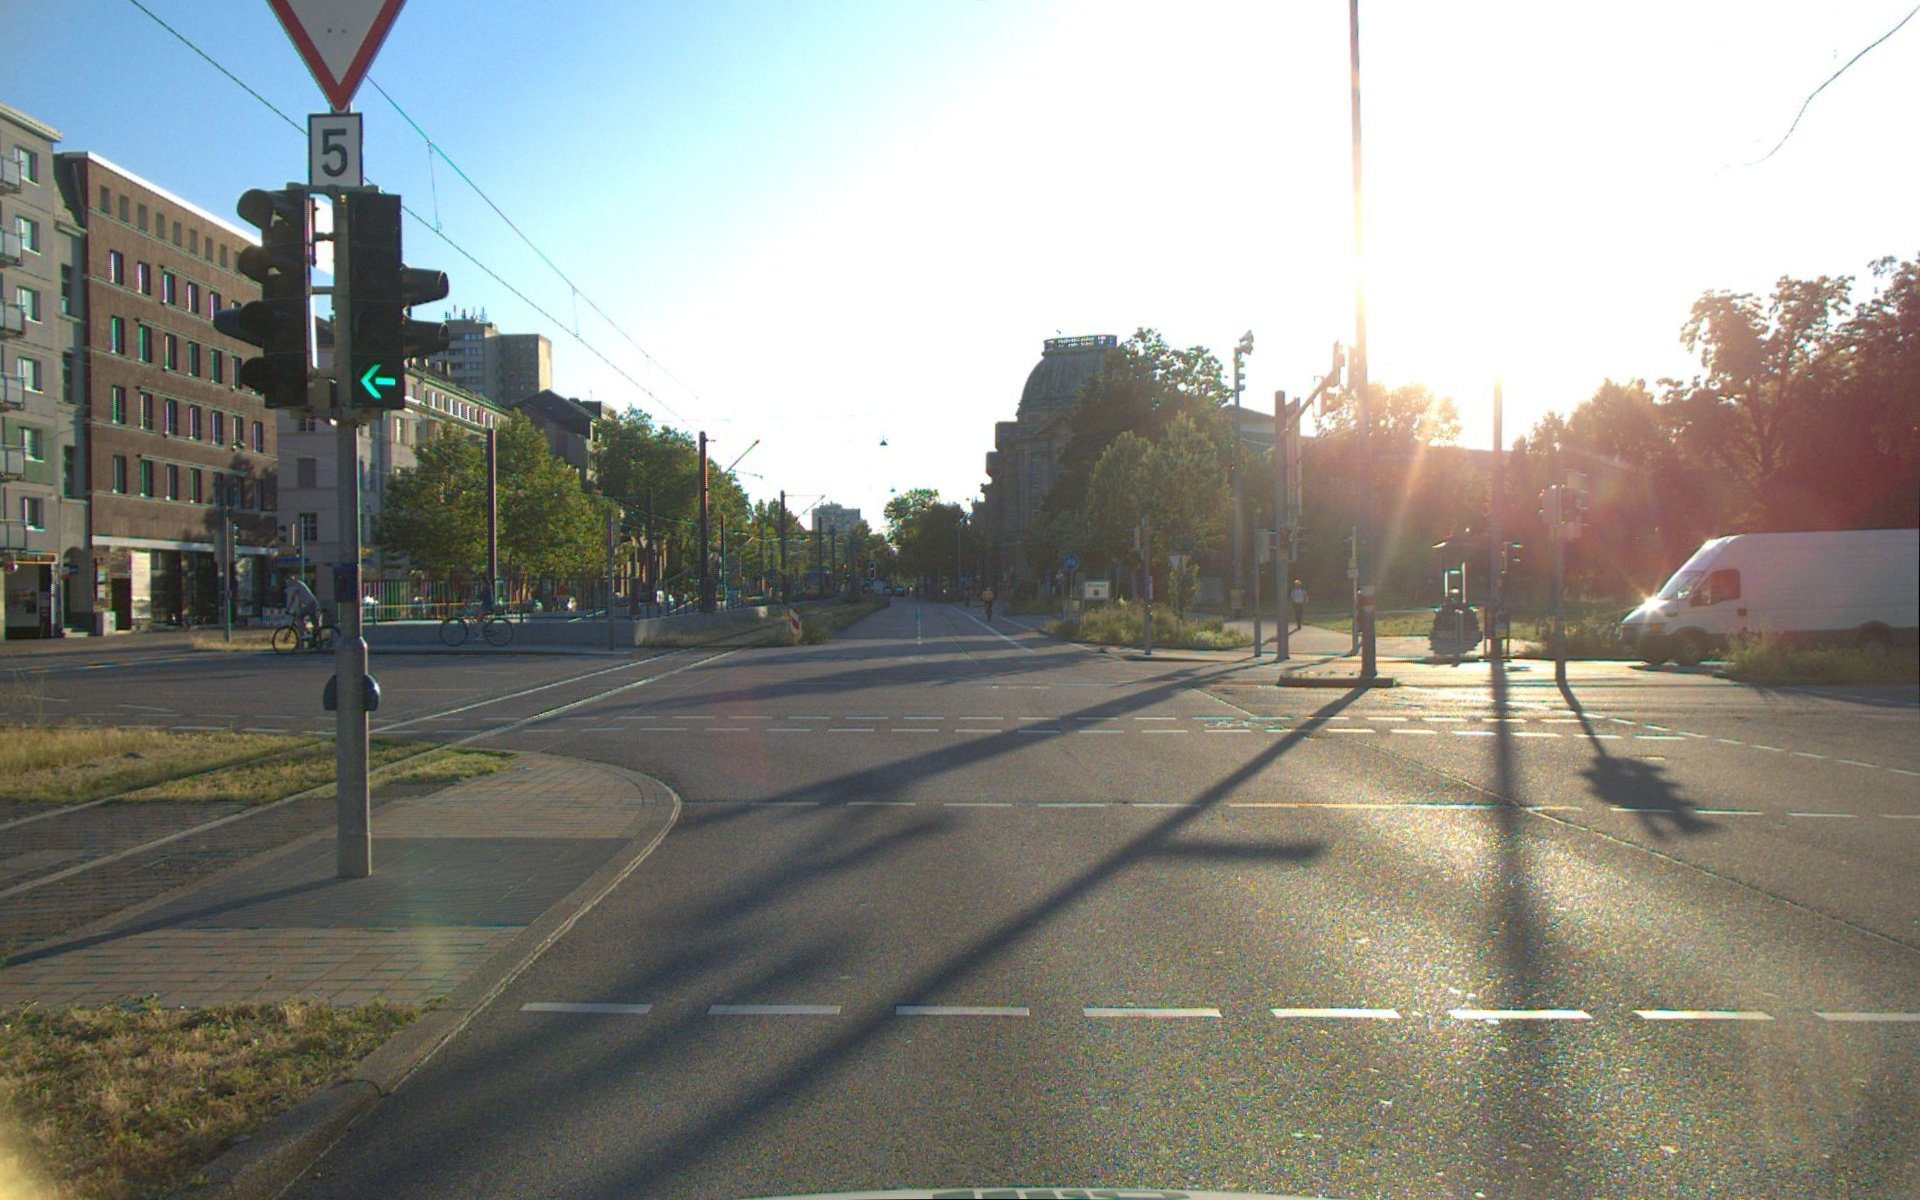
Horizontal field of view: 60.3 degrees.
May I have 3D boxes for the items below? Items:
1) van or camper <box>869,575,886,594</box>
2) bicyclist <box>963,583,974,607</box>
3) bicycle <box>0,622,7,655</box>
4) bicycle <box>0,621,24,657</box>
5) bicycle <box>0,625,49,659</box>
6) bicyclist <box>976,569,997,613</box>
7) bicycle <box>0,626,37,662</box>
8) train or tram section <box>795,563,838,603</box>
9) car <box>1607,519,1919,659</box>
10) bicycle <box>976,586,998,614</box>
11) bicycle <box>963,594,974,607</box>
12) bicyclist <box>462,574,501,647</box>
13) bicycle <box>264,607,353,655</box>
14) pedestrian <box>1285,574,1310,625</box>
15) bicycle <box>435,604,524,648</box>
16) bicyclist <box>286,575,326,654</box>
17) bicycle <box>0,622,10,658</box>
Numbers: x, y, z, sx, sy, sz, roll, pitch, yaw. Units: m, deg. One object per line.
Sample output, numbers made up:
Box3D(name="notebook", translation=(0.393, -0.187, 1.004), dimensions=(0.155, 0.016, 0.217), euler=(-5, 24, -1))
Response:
Box3D(name="van or camper", translation=(-12.274, -2.254, 246.658), dimensions=(2.400, 2.819, 5.598), euler=(-1, 0, -3))
Box3D(name="bicyclist", translation=(0.760, -0.419, 144.636), dimensions=(0.907, 2.049, 0.850), euler=(0, 0, -1))
Box3D(name="bicycle", translation=(-28.549, 1.137, 47.866), dimensions=(0.498, 0.961, 1.666), euler=(-1, 0, 26))
Box3D(name="bicycle", translation=(-32.883, 1.335, 56.236), dimensions=(1.655, 1.199, 0.748), euler=(-1, 0, 1))
Box3D(name="bicycle", translation=(-32.843, 1.469, 57.756), dimensions=(1.655, 1.164, 0.697), euler=(-1, 0, 1))
Box3D(name="bicyclist", translation=(1.395, -0.477, 86.522), dimensions=(1.060, 2.316, 0.986), euler=(0, 0, -1))
Box3D(name="bicycle", translation=(-32.872, 1.515, 57.011), dimensions=(1.655, 1.190, 0.748), euler=(-1, 0, 1))
Box3D(name="train or tram section", translation=(-15.125, -1.873, 174.579), dimensions=(4.301, 3.916, 11.401), euler=(-1, 2, -5))
Box3D(name="car", translation=(17.837, -0.236, 35.777), dimensions=(6.866, 2.877, 2.093), euler=(-1, 0, 1))
Box3D(name="bicycle", translation=(1.391, -0.005, 86.627), dimensions=(1.075, 1.423, 2.831), euler=(-1, 0, -1))
Box3D(name="bicycle", translation=(0.777, 0.024, 144.598), dimensions=(0.905, 1.131, 2.332), euler=(0, 0, -1))
Box3D(name="bicyclist", translation=(-12.127, 0.261, 41.938), dimensions=(0.860, 1.850, 0.536), euler=(0, 0, -11))
Box3D(name="bicycle", translation=(-15.464, 0.728, 39.285), dimensions=(1.869, 1.094, 0.630), euler=(-1, 0, -15))
Box3D(name="pedestrian", translation=(12.145, -0.027, 59.444), dimensions=(0.815, 1.835, 0.811), euler=(-1, 0, 14))
Box3D(name="bicycle", translation=(-12.171, 0.648, 41.934), dimensions=(2.124, 1.102, 0.537), euler=(0, -1, -10))
Box3D(name="bicyclist", translation=(-15.516, 0.337, 39.264), dimensions=(0.779, 1.850, 0.644), euler=(-1, 0, -15))
Box3D(name="bicycle", translation=(-32.905, 1.344, 55.475), dimensions=(1.655, 1.173, 0.705), euler=(-1, 0, 1))
